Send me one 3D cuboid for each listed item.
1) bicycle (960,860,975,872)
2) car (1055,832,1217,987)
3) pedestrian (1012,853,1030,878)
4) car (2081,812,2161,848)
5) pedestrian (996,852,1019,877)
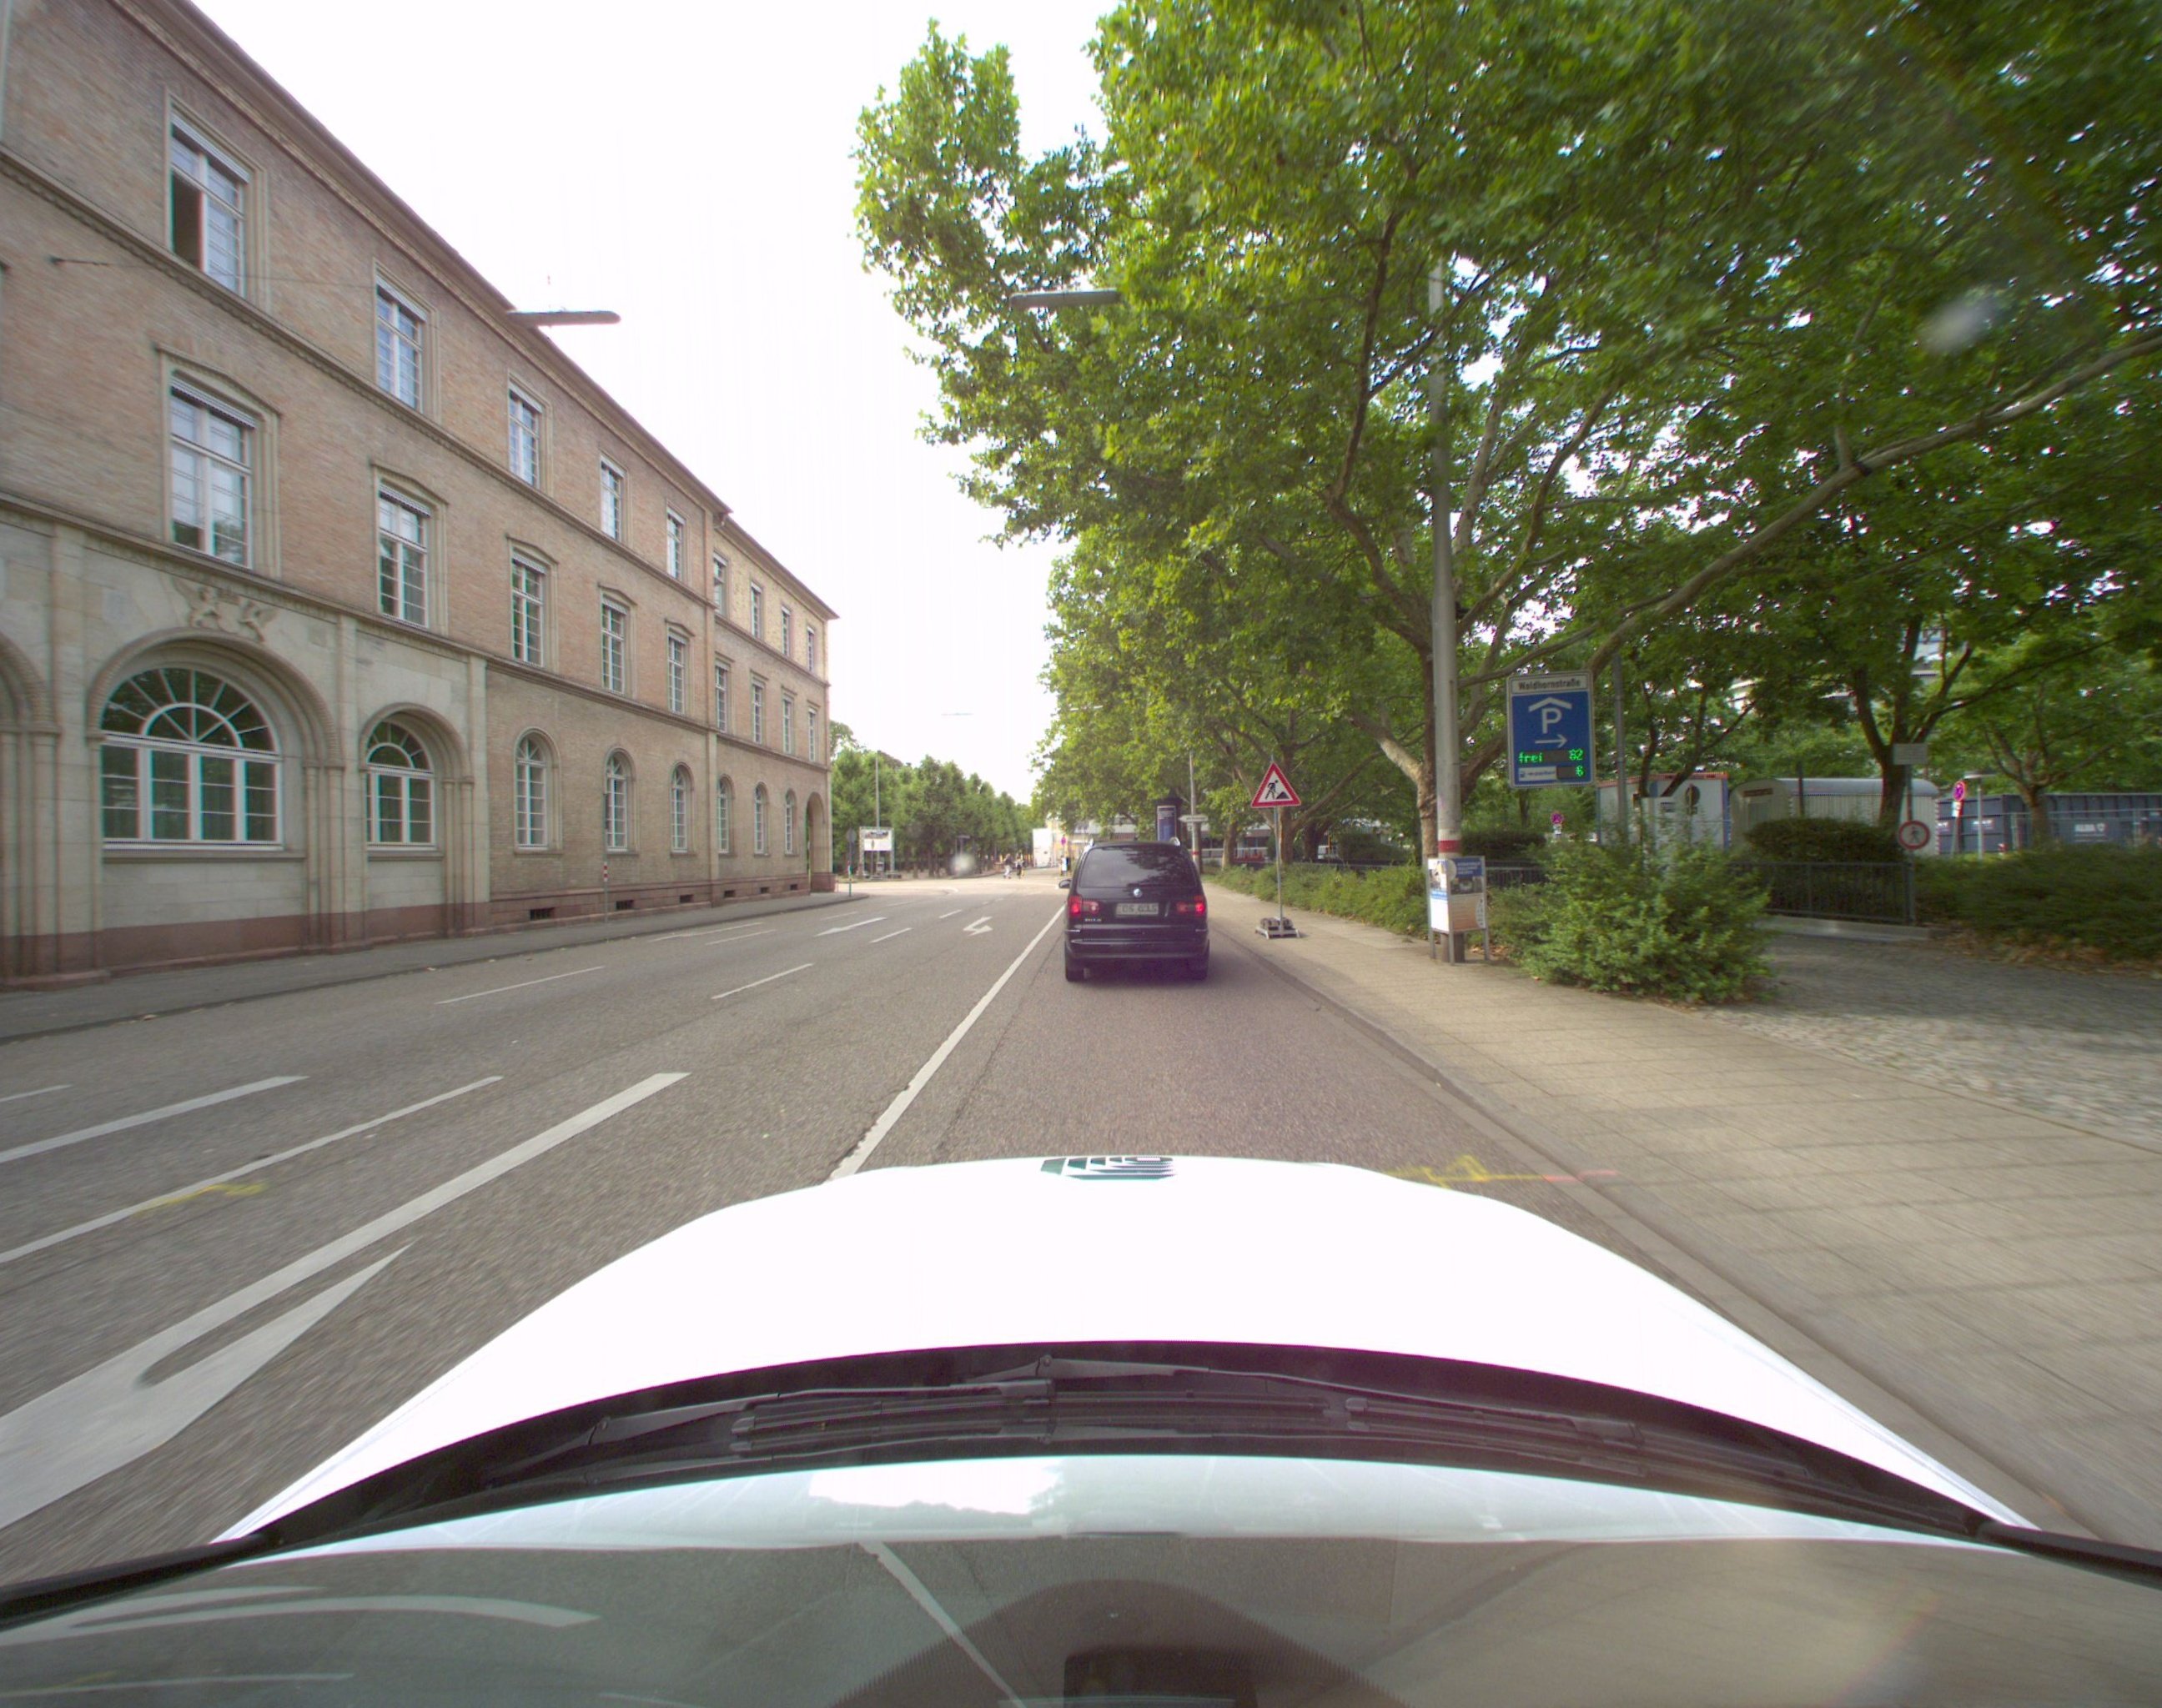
[{"bbox_3d":[-10.357,1.073,74.245,0.954,1.110,2.566,0,0,-16],"label":"bicycle"},{"bbox_3d":[0.669,0.625,11.266,1.787,1.708,4.132,-2,0,1],"label":"car"},{"bbox_3d":[-4.084,0.774,55.444,0.857,1.641,0.888,0,0,-42],"label":"pedestrian"},{"bbox_3d":[49.672,-1.096,37.770,1.988,1.580,3.787,0,0,-1],"label":"car"},{"bbox_3d":[-5.017,0.714,55.835,1.262,1.741,0.952,0,0,-42],"label":"pedestrian"}]
